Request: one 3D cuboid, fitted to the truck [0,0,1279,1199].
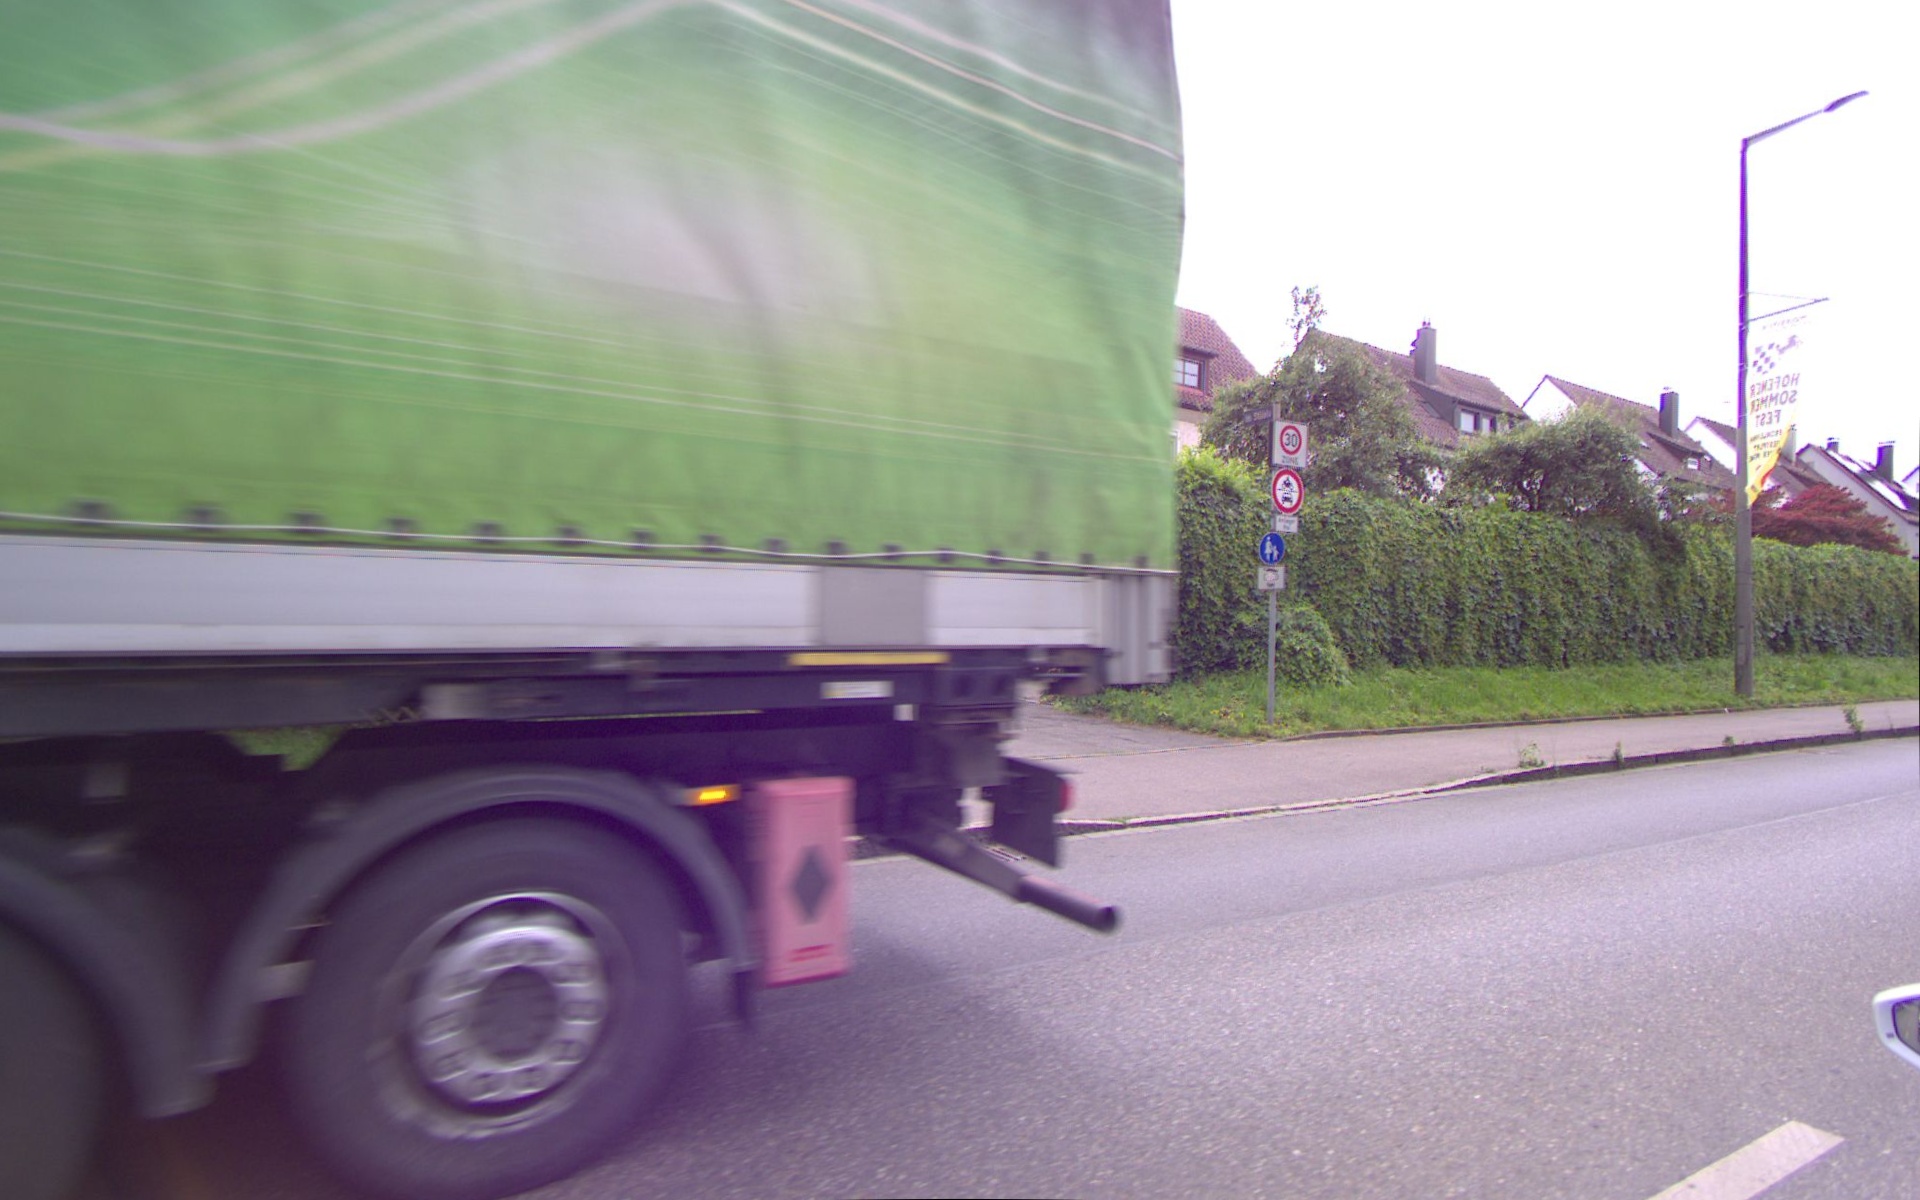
[{"bbox_3d":[-3.925,-0.646,2.151,10.500,4.096,2.537,2,-4,-32],"label":"truck"}]
